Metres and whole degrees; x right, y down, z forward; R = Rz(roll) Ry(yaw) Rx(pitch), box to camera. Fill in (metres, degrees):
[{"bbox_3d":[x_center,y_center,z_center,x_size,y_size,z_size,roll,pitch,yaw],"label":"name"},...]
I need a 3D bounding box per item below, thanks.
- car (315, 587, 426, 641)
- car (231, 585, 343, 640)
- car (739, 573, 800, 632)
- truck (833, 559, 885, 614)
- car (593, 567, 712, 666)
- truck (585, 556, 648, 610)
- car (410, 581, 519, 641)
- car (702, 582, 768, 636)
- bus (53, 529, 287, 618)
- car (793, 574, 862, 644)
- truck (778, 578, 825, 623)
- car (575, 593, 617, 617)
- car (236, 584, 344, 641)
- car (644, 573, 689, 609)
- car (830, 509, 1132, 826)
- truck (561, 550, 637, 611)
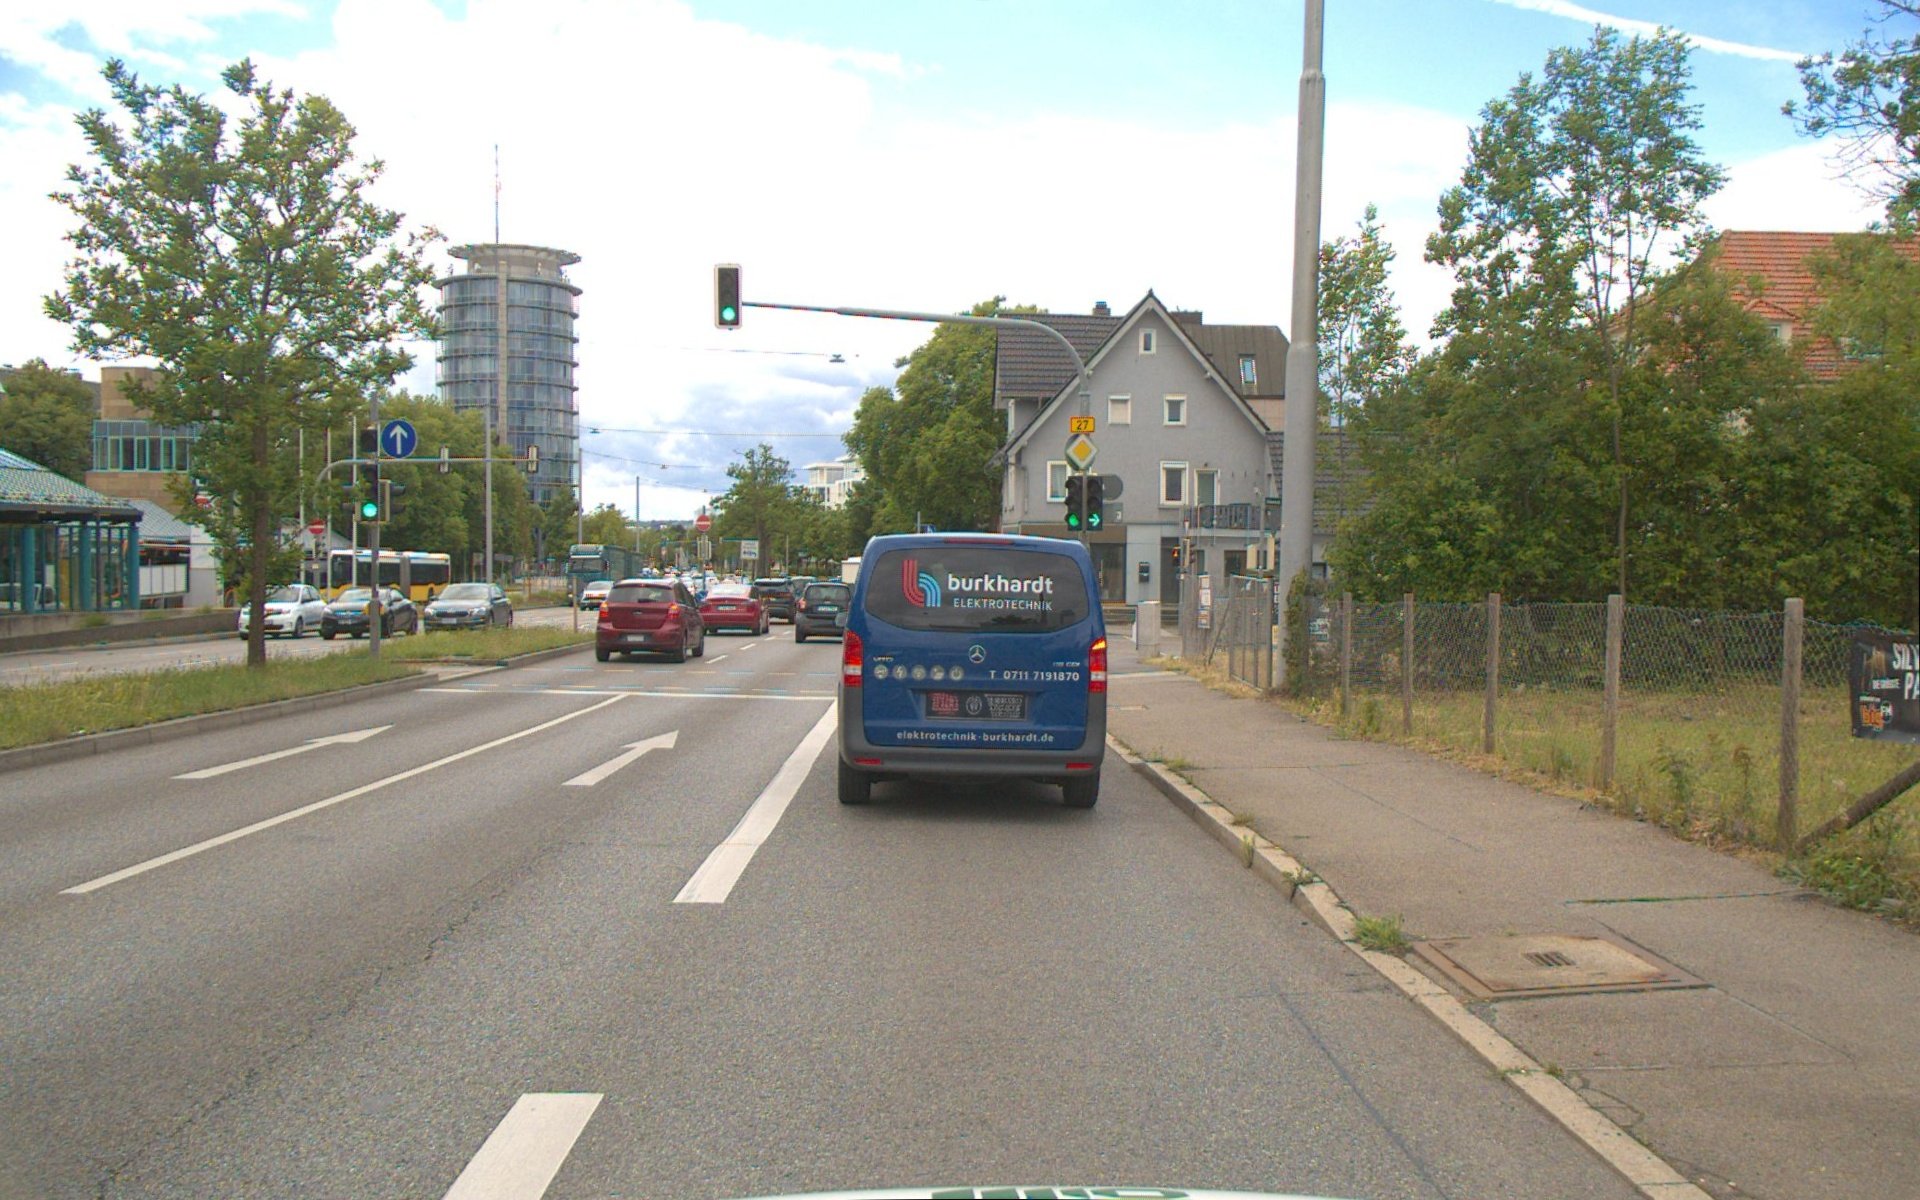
[{"bbox_3d":[-16.694,0.371,47.069,1.778,1.422,5.005,-1,0,-6],"label":"car"},{"bbox_3d":[-19.649,0.338,48.476,1.712,1.544,3.999,0,0,-1],"label":"car"},{"bbox_3d":[-7.107,0.057,61.466,1.957,2.048,3.991,1,1,-10],"label":"car"},{"bbox_3d":[-4.370,-0.587,72.176,1.953,2.203,5.558,2,0,-1],"label":"truck"},{"bbox_3d":[-5.908,0.285,32.193,1.711,1.753,3.998,2,1,-3],"label":"car"},{"bbox_3d":[-24.962,-1.237,120.608,3.301,3.792,8.022,0,0,-3],"label":"truck"},{"bbox_3d":[-13.827,0.283,46.422,1.954,1.601,4.513,0,0,-4],"label":"car"},{"bbox_3d":[-6.555,0.260,48.110,1.834,1.512,3.992,0,0,-8],"label":"car"},{"bbox_3d":[-31.128,-0.976,66.071,2.895,3.188,12.165,1,0,3],"label":"bus"},{"bbox_3d":[-3.451,0.207,43.278,1.712,1.753,3.996,0,1,-4],"label":"car"},{"bbox_3d":[-8.229,0.015,86.289,1.953,2.203,5.558,2,0,-1],"label":"truck"},{"bbox_3d":[-20.424,0.250,92.924,1.794,1.284,3.996,0,0,-5],"label":"car"},{"bbox_3d":[-19.585,0.332,48.504,1.591,1.601,3.999,0,0,-1],"label":"car"},{"bbox_3d":[-17.320,-0.533,97.820,1.953,2.049,4.178,0,0,-1],"label":"car"},{"bbox_3d":[0.124,0.426,12.887,1.908,2.000,4.541,1,0,0],"label":"car"},{"bbox_3d":[-23.867,-1.248,109.838,3.302,3.792,11.270,1,0,-4],"label":"truck"}]
